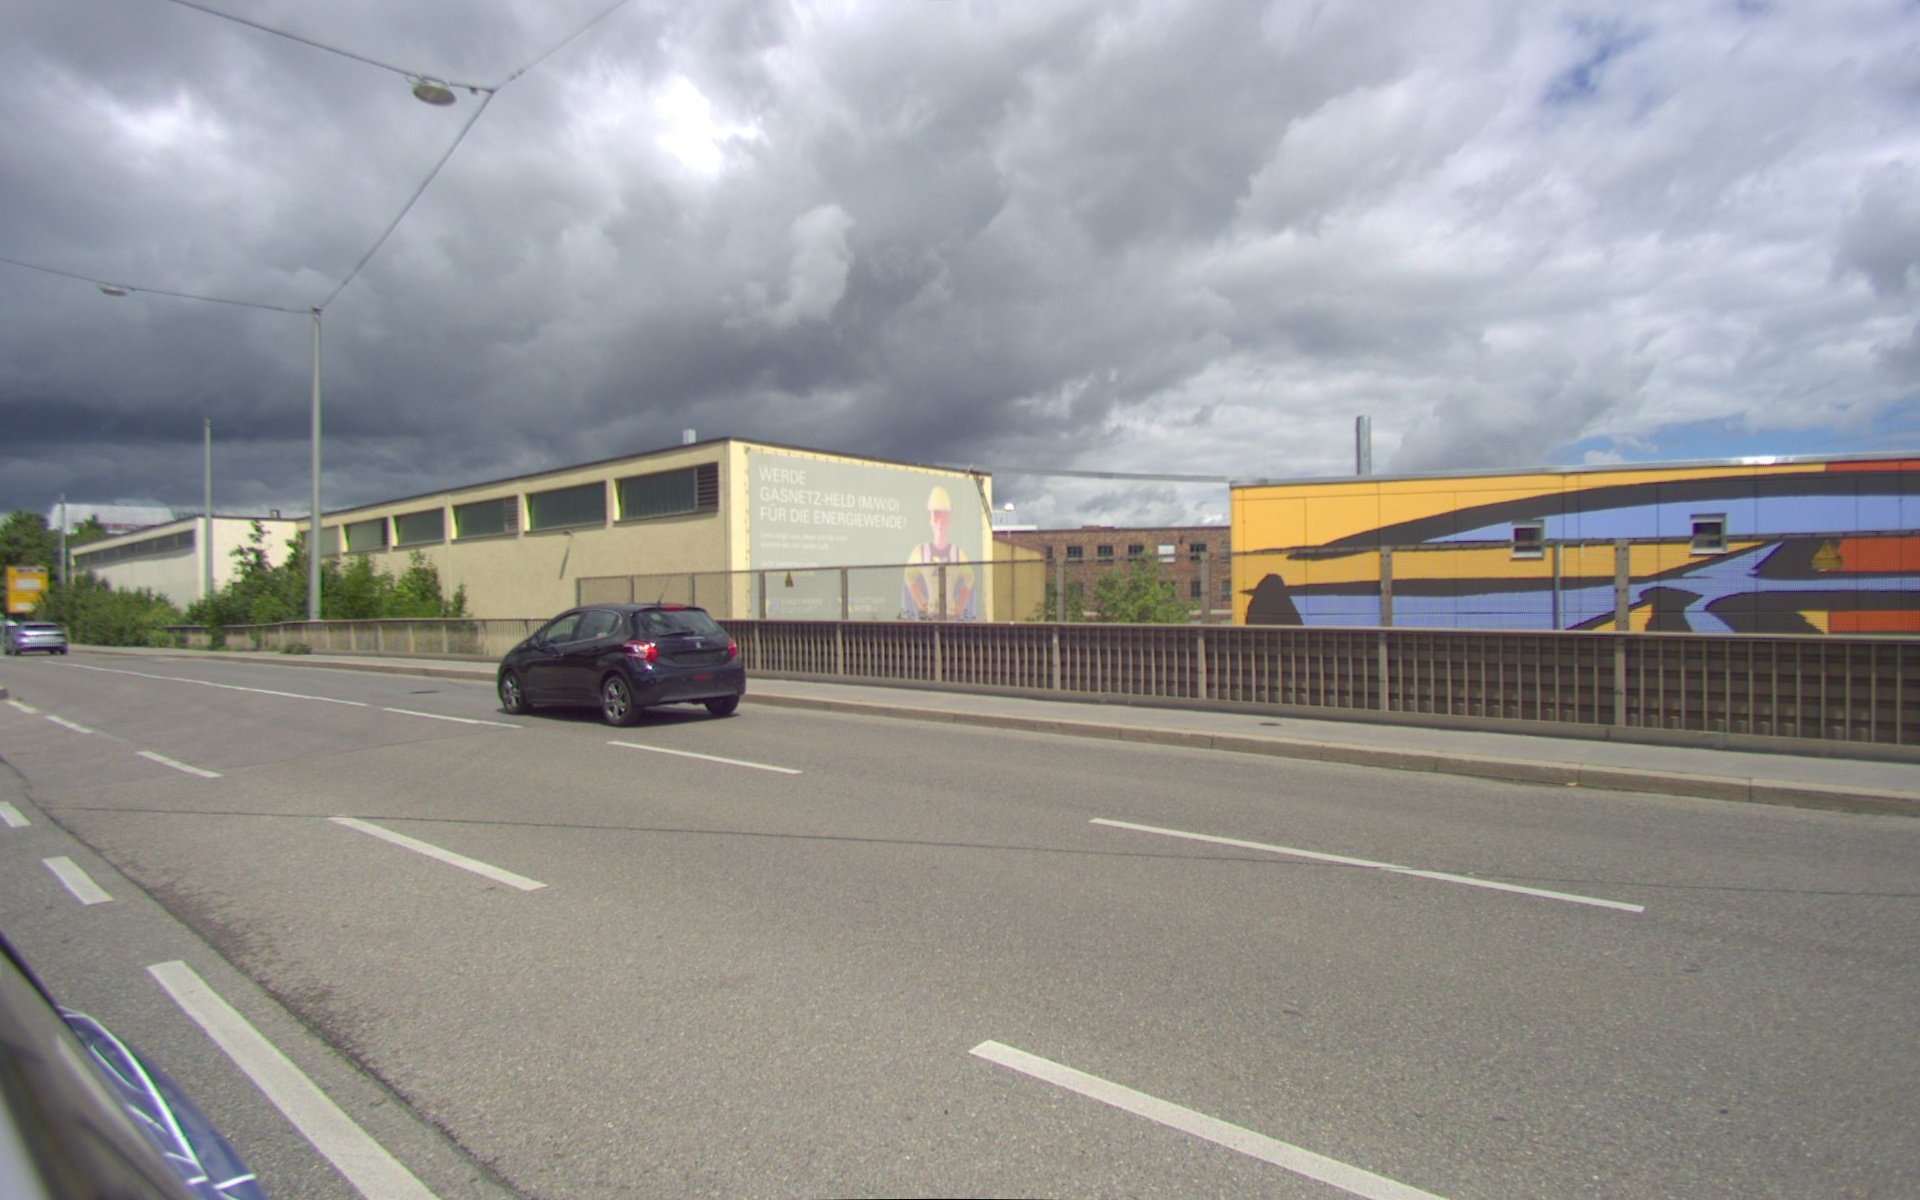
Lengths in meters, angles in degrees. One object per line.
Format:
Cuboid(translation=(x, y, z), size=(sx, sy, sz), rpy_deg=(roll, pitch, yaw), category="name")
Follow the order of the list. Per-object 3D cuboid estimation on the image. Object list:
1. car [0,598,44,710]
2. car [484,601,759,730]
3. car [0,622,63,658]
Cuboid(translation=(-17.331, 0.887, 17.361), size=(4.204, 1.806, 1.847), rpy_deg=(-1, -1, 40), category="car")
Cuboid(translation=(-4.465, 0.752, 13.104), size=(3.795, 1.423, 1.592), rpy_deg=(-1, 0, 39), category="car")
Cuboid(translation=(-40.158, 1.706, 43.638), size=(3.795, 1.423, 1.592), rpy_deg=(-1, 0, 39), category="car")
